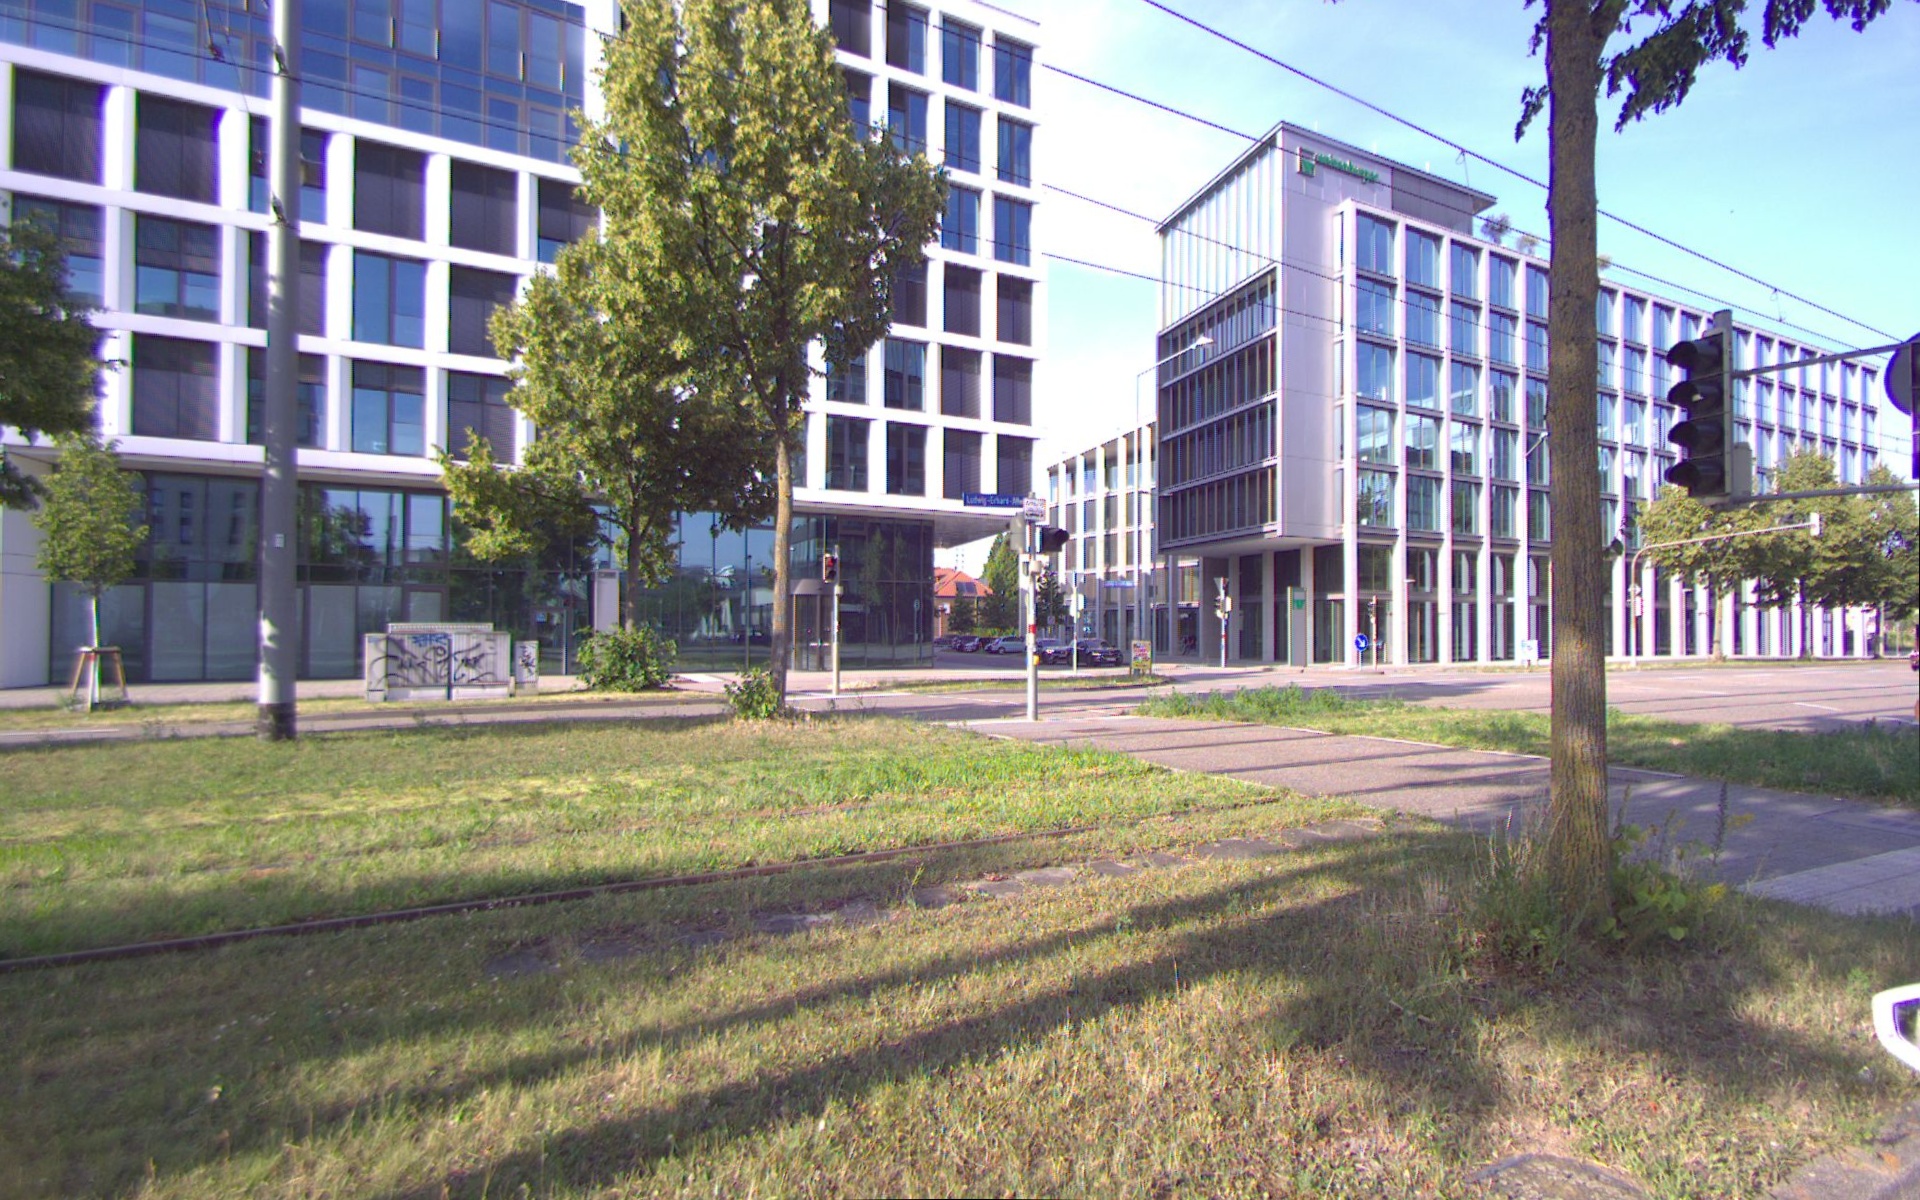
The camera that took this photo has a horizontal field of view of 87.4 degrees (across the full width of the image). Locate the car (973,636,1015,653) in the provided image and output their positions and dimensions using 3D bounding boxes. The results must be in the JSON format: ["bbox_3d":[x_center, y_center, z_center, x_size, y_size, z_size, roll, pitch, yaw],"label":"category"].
[{"bbox_3d":[3.149,4.147,93.824,3.614,1.416,1.550,2,0,-14],"label":"car"}]

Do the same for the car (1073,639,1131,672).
[{"bbox_3d":[7.211,2.803,51.283,1.551,1.443,3.498,1,0,-19],"label":"car"}]

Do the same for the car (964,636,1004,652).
[{"bbox_3d":[2.331,4.197,96.896,3.614,1.416,1.550,2,0,-14],"label":"car"}]

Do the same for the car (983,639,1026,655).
[{"bbox_3d":[3.974,4.240,89.931,3.536,1.313,1.524,2,0,-14],"label":"car"}]

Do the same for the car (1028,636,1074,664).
[{"bbox_3d":[5.281,2.892,58.662,1.549,1.443,3.668,1,0,-14],"label":"car"}]

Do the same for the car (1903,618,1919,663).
[{"bbox_3d":[40.980,1.703,41.771,3.841,1.799,1.674,2,0,-33],"label":"car"}]

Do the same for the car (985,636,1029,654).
[{"bbox_3d":[4.083,3.919,87.076,3.536,1.417,1.524,2,0,-14],"label":"car"}]
